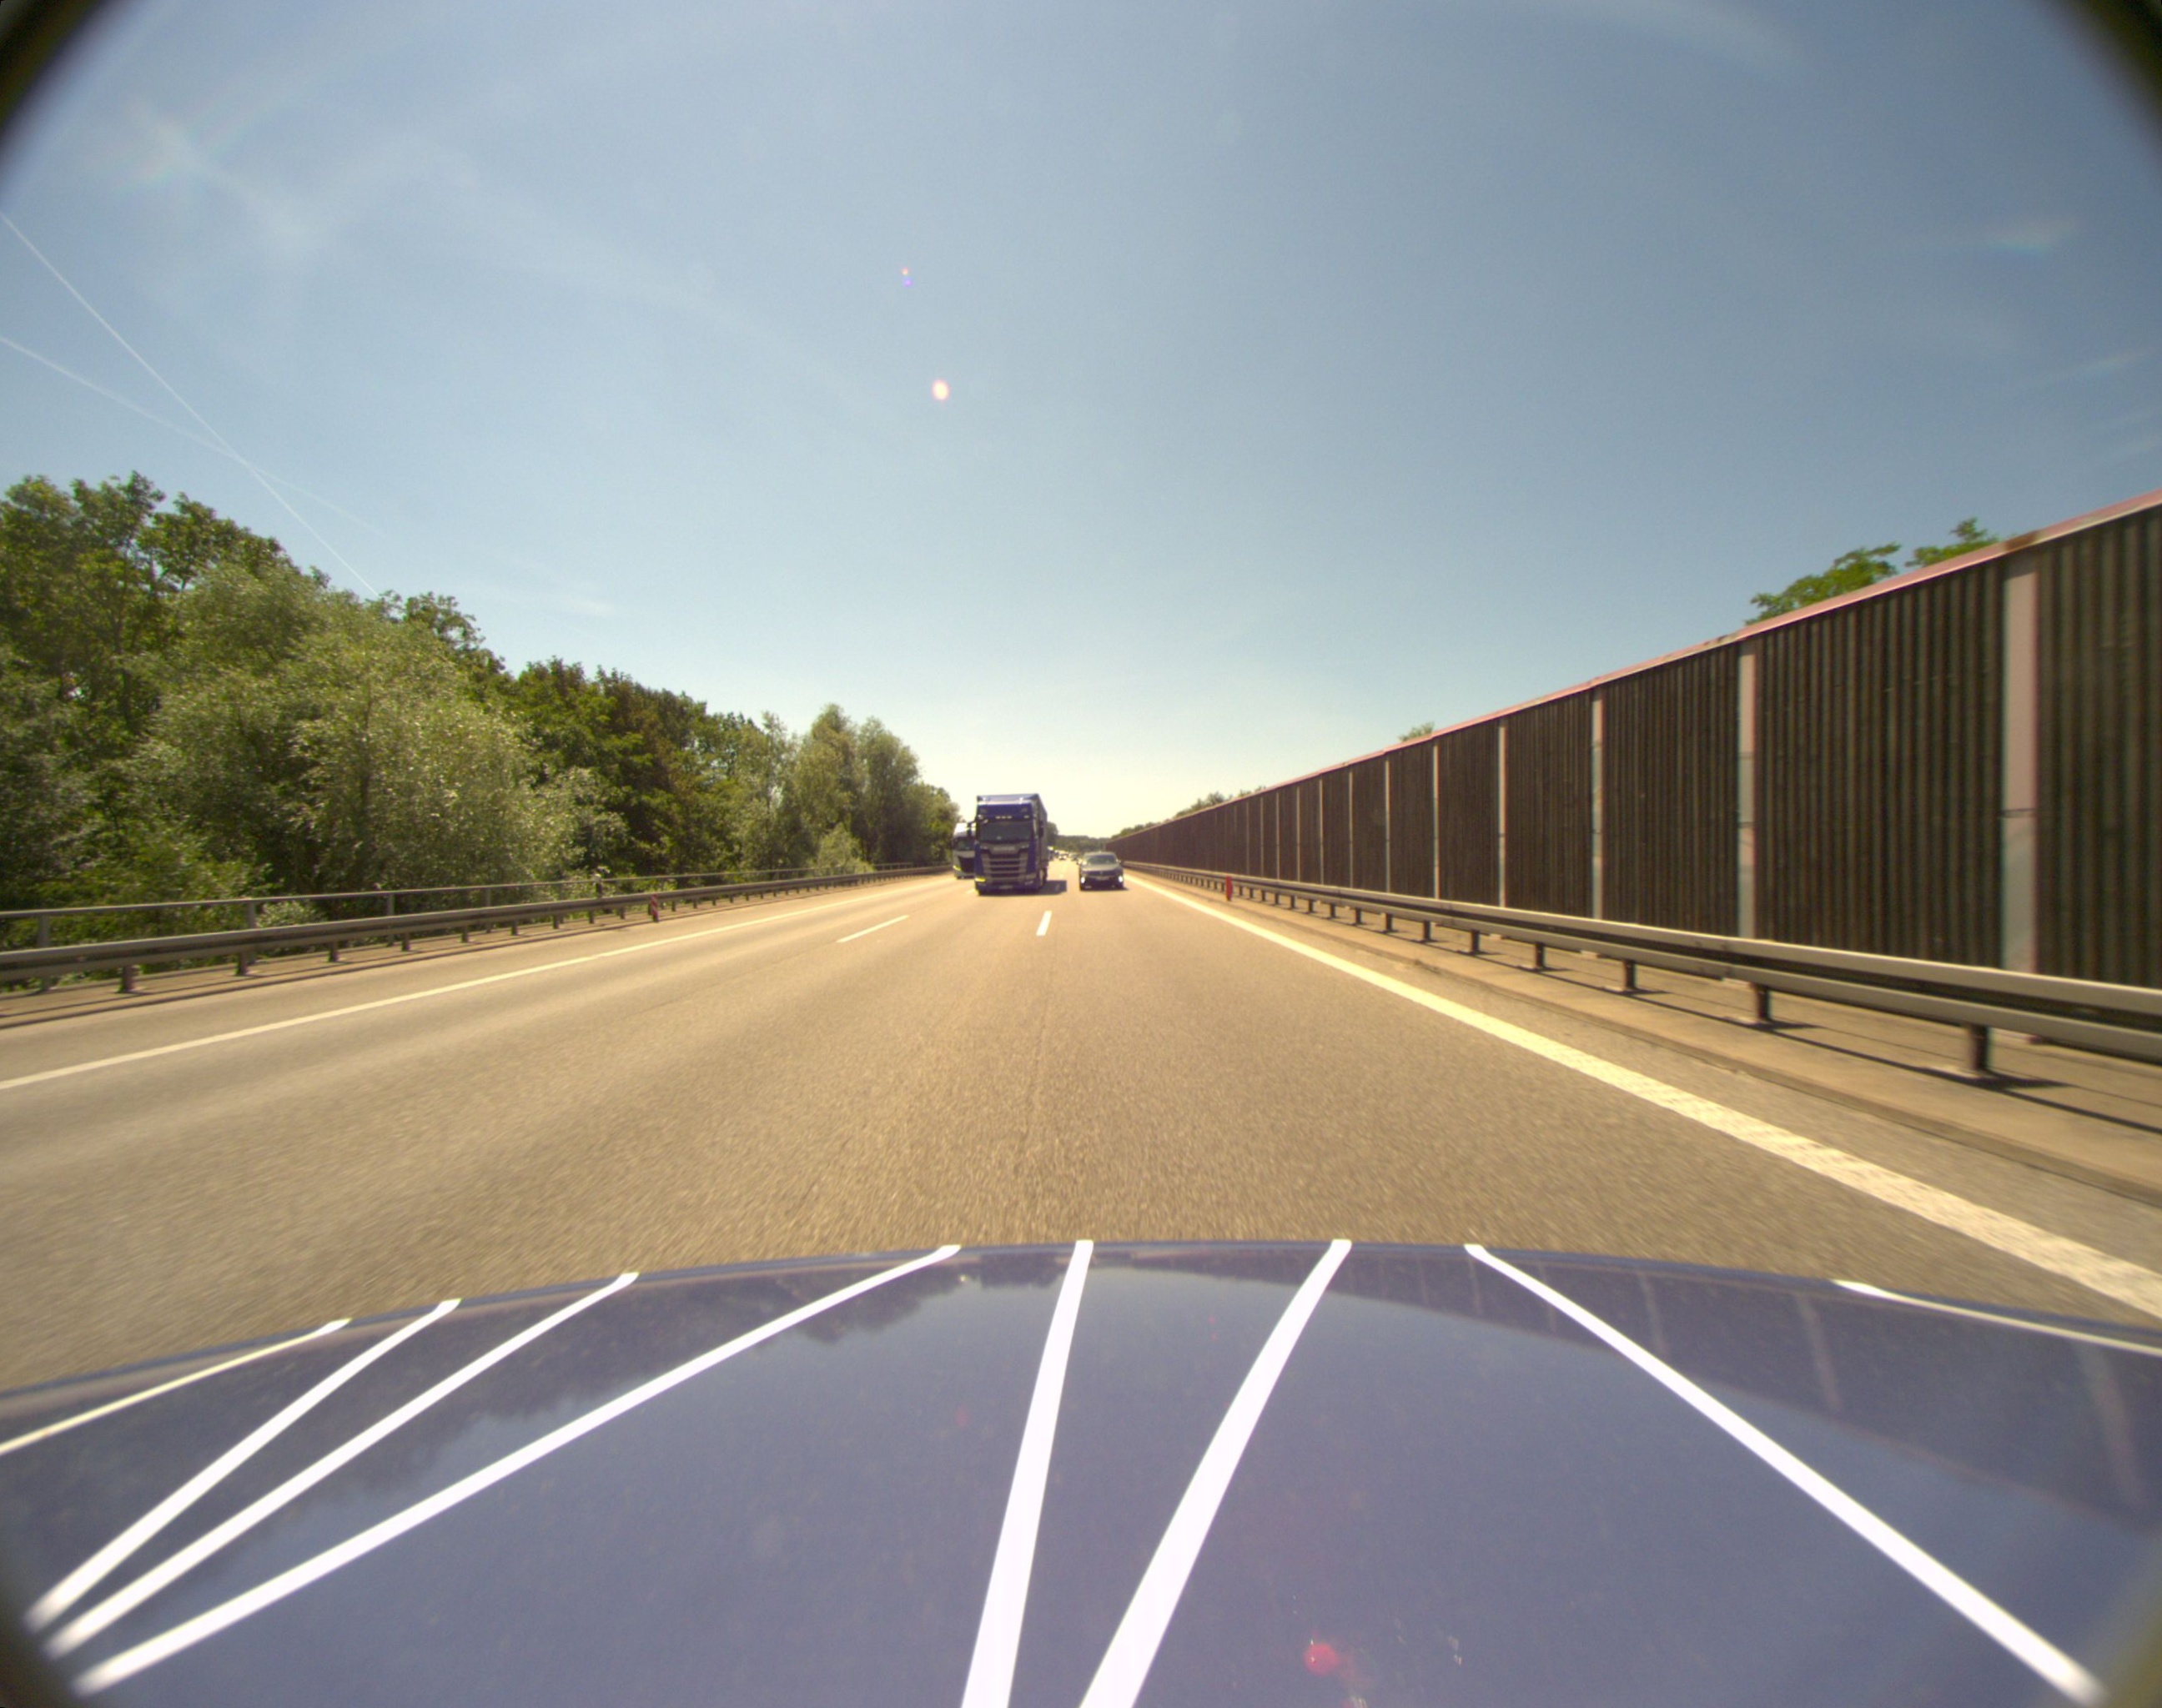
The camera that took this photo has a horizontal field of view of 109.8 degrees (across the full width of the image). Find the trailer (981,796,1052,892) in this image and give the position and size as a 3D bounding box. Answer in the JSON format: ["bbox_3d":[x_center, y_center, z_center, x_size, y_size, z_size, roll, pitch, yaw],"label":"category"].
[{"bbox_3d":[-3.041,-0.462,39.219,2.707,4.094,12.129,-2,0,-1],"label":"trailer"}]

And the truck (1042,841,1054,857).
[{"bbox_3d":[-9.122,-1.317,208.840,2.992,4.248,9.822,-2,0,-2],"label":"truck"}]

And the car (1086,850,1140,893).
[{"bbox_3d":[1.281,0.689,32.478,1.885,1.630,5.008,-1,0,-2],"label":"car"}]

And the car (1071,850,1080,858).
[{"bbox_3d":[-1.304,-0.006,182.797,1.998,1.717,4.000,-2,0,1],"label":"car"}]

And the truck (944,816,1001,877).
[{"bbox_3d":[-8.005,-0.519,57.216,2.820,4.139,10.446,-2,0,-1],"label":"truck"}]

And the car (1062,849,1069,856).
[{"bbox_3d":[-4.498,-0.378,222.990,1.999,2.002,3.999,-2,0,-3],"label":"car"}]

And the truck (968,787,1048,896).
[{"bbox_3d":[-2.933,-0.487,32.455,2.707,4.094,6.989,-2,0,-1],"label":"truck"}]
